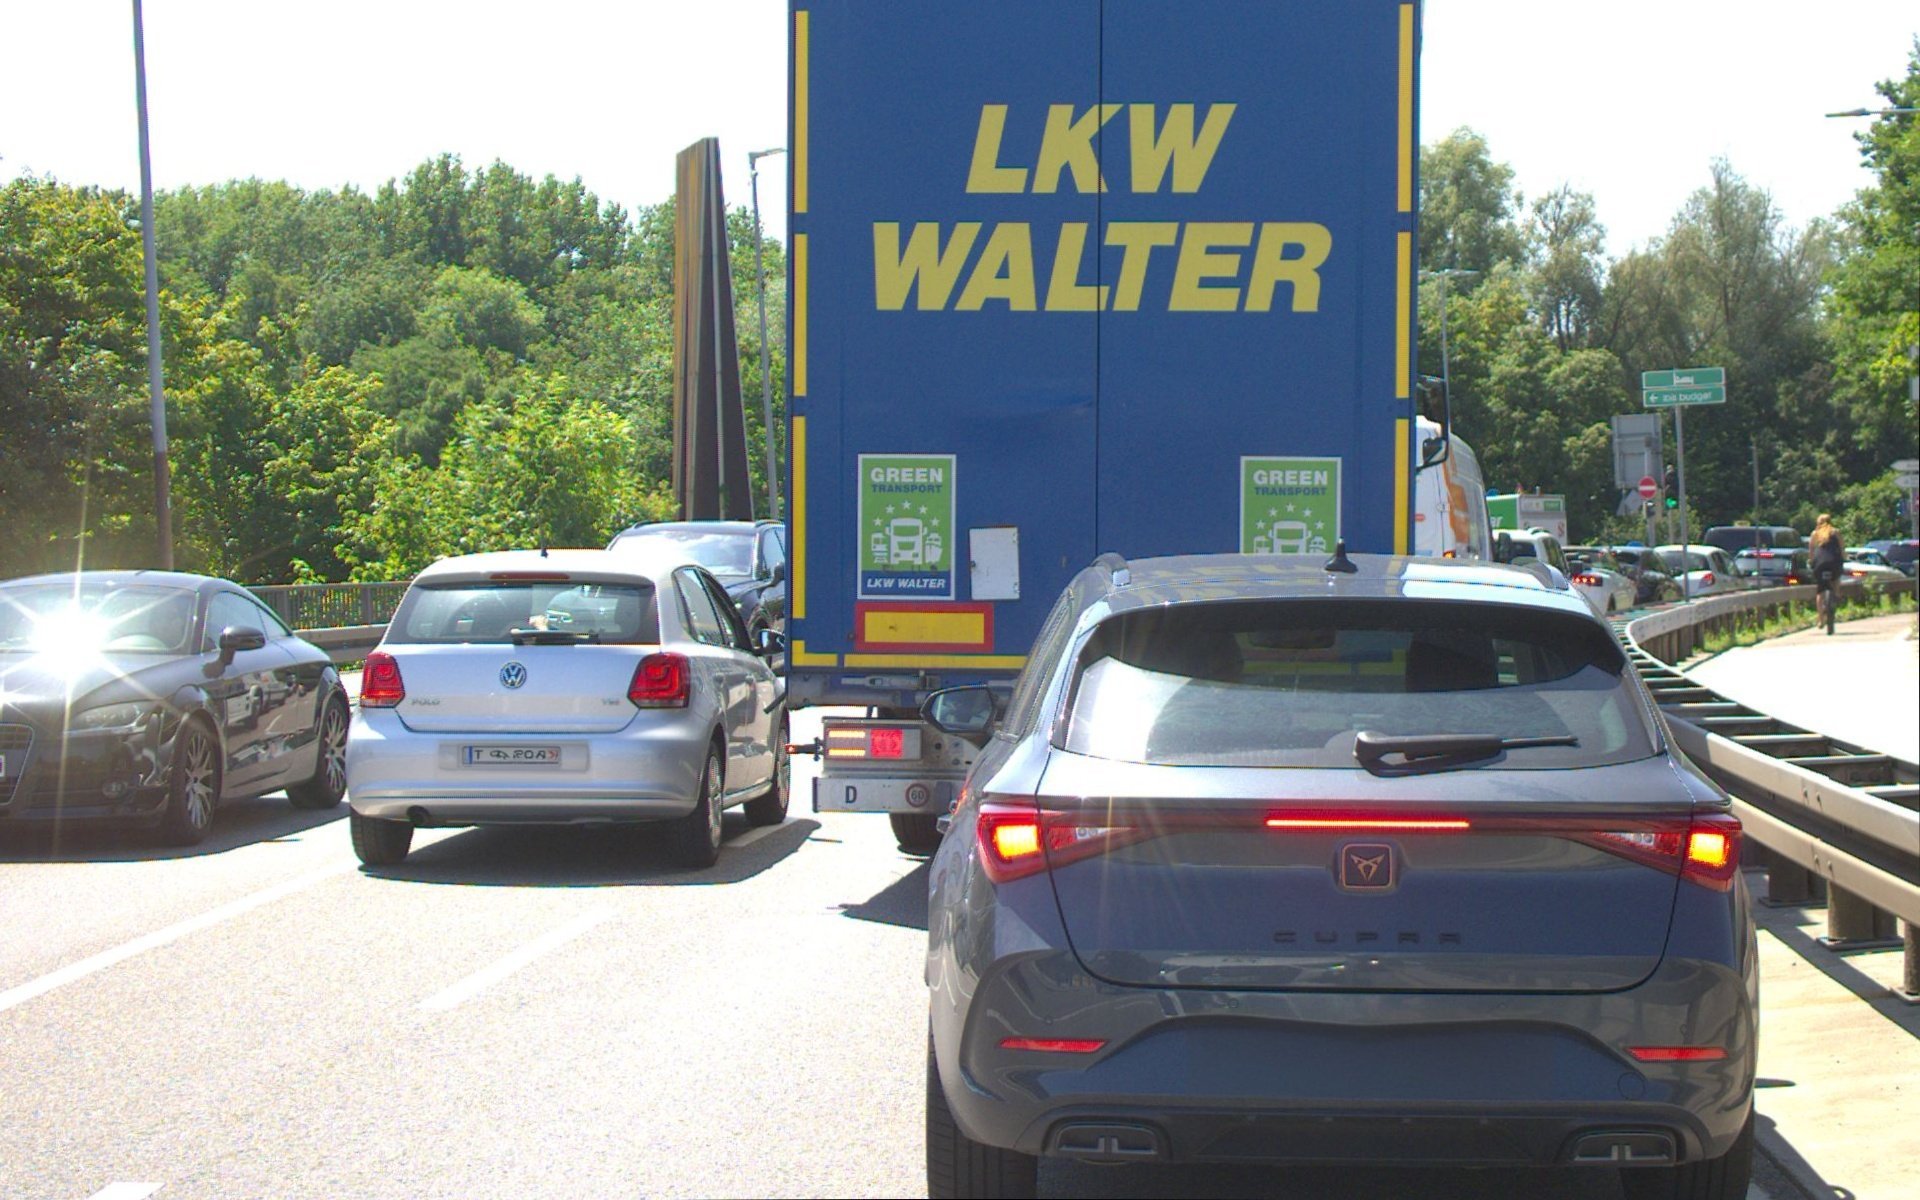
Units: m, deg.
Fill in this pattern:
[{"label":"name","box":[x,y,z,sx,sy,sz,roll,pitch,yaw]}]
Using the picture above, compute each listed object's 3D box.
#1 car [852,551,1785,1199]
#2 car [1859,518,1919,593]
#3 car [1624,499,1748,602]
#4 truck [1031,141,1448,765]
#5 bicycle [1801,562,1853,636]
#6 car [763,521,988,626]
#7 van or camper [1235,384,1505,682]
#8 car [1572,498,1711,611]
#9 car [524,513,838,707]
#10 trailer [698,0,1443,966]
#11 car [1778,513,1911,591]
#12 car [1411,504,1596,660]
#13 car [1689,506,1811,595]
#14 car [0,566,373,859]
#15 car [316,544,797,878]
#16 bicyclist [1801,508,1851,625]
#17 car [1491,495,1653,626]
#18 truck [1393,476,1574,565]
[{"label":"car","box":[0.762,0.620,8.193,1.677,1.451,3.958,0,1,4]},{"label":"car","box":[22.853,-1.052,82.170,1.688,1.754,3.993,0,1,29]},{"label":"car","box":[13.460,-0.940,63.634,1.722,1.837,3.996,0,1,20]},{"label":"truck","box":[2.436,-1.122,27.731,2.905,4.403,6.553,0,1,8]},{"label":"bicycle","box":[12.676,-0.019,50.273,0.582,1.032,1.484,-3,1,10]},{"label":"car","box":[-1.175,-0.417,50.039,1.712,1.464,4.455,0,1,21]},{"label":"van or camper","box":[4.377,-0.706,35.766,2.155,2.806,6.384,0,1,13]},{"label":"car","box":[11.514,-0.789,57.931,1.722,1.837,3.996,0,1,20]},{"label":"car","box":[-2.516,0.044,32.202,1.966,1.667,4.612,0,1,8]},{"label":"trailer","box":[1.275,-0.918,19.776,2.905,4.403,12.429,0,1,8]},{"label":"car","box":[19.666,-1.056,76.321,1.996,1.570,3.994,2,0,27]},{"label":"car","box":[6.864,-0.271,43.142,1.722,1.837,3.997,0,2,18]},{"label":"car","box":[16.152,-0.997,70.160,1.687,1.754,3.995,0,0,24]},{"label":"car","box":[-4.422,0.496,17.817,1.678,1.304,3.972,0,1,6]},{"label":"car","box":[-1.858,0.451,16.986,1.677,1.406,3.975,0,1,4]},{"label":"bicyclist","box":[12.662,-0.492,50.290,0.578,1.677,0.729,-3,1,10]},{"label":"car","box":[8.849,-0.596,49.508,1.722,1.796,3.997,0,1,19]},{"label":"truck","box":[17.234,-2.622,113.462,2.335,2.864,5.939,-1,2,-37]}]
